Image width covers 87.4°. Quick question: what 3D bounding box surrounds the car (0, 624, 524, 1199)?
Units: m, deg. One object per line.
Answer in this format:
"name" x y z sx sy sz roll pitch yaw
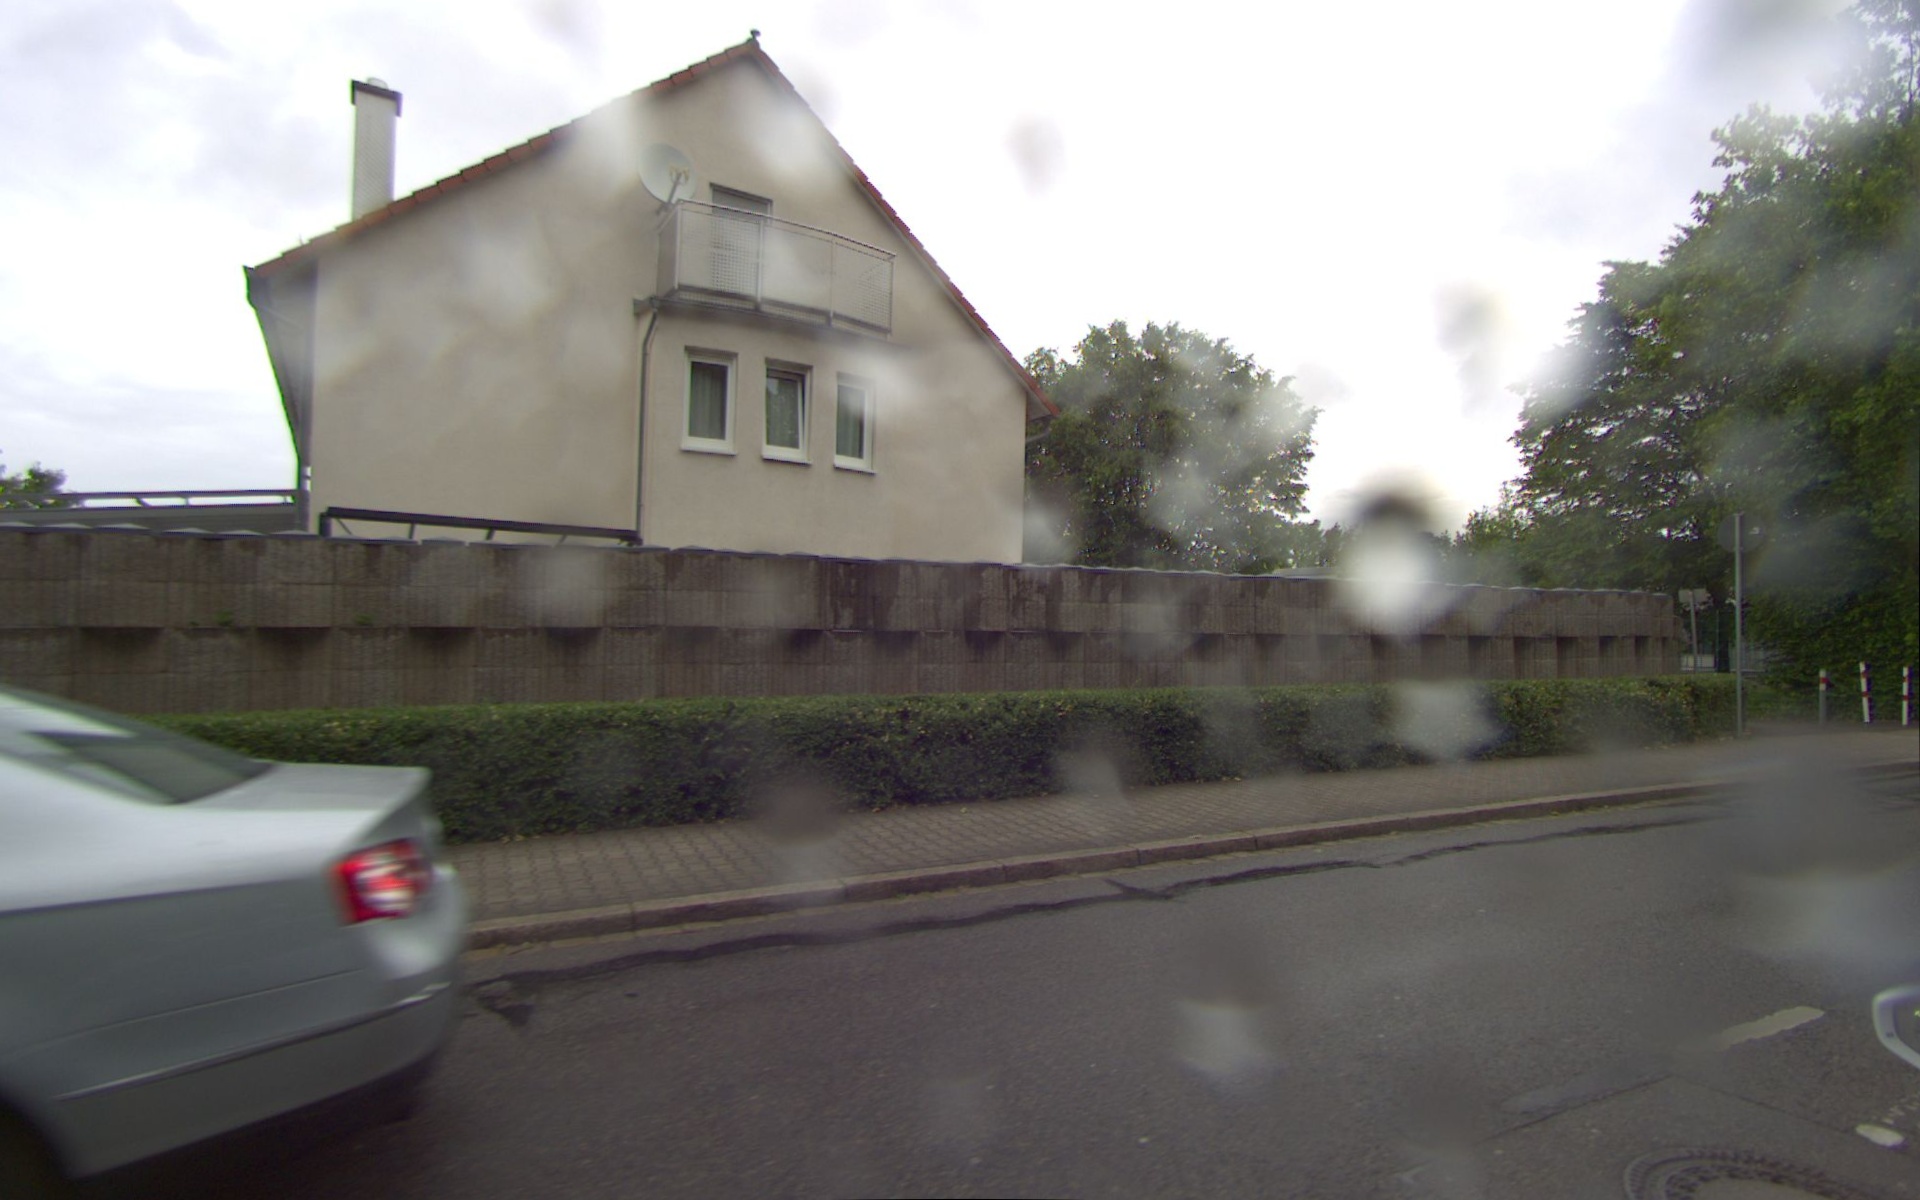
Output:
"car" -3.433 0.795 2.217 4.428 1.438 1.987 1 -3 -27
